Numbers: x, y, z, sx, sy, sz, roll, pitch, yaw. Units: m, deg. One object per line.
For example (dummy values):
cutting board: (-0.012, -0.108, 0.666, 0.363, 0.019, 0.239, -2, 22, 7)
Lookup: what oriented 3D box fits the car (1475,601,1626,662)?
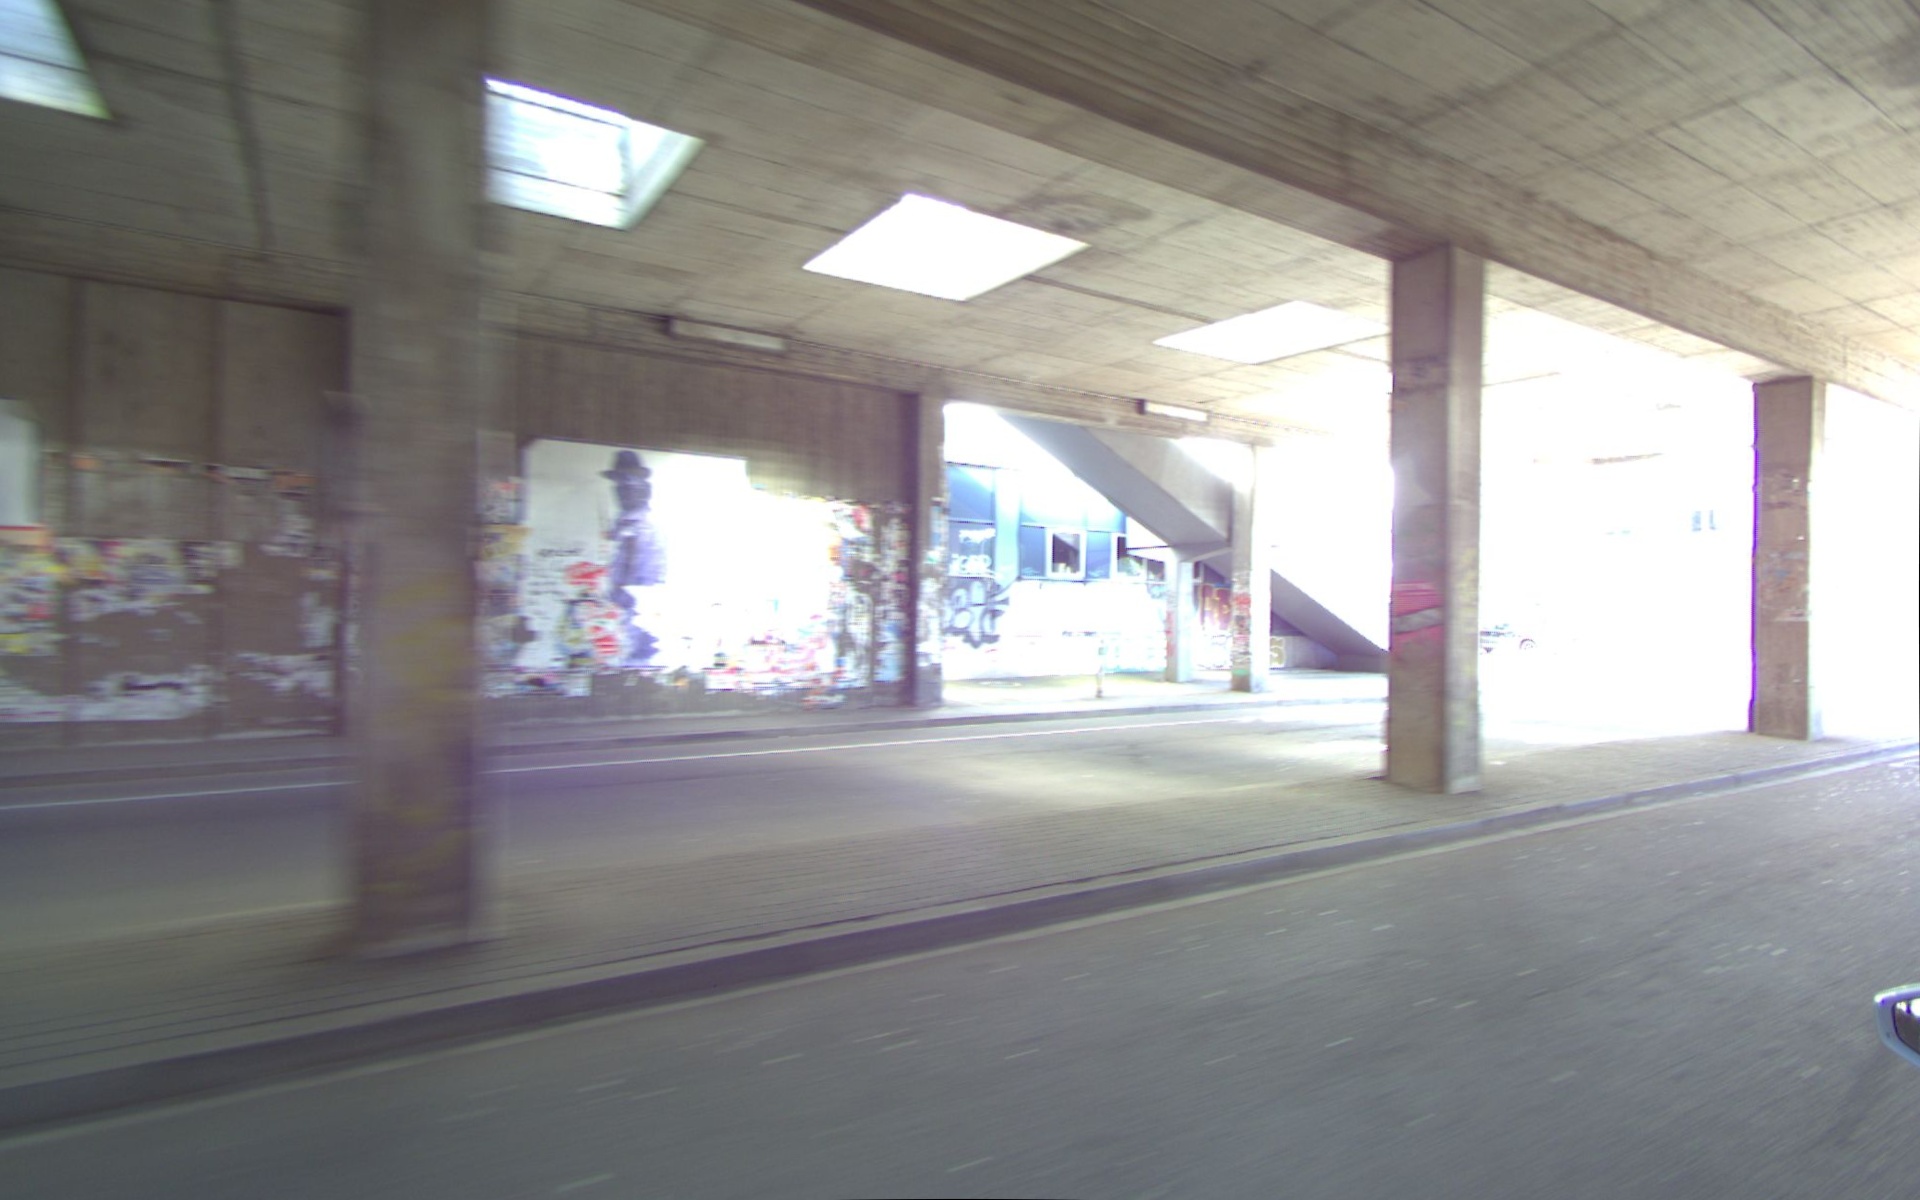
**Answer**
car: (21.774, 1.086, 37.228, 1.978, 2.041, 4.455, -2, 1, -32)
